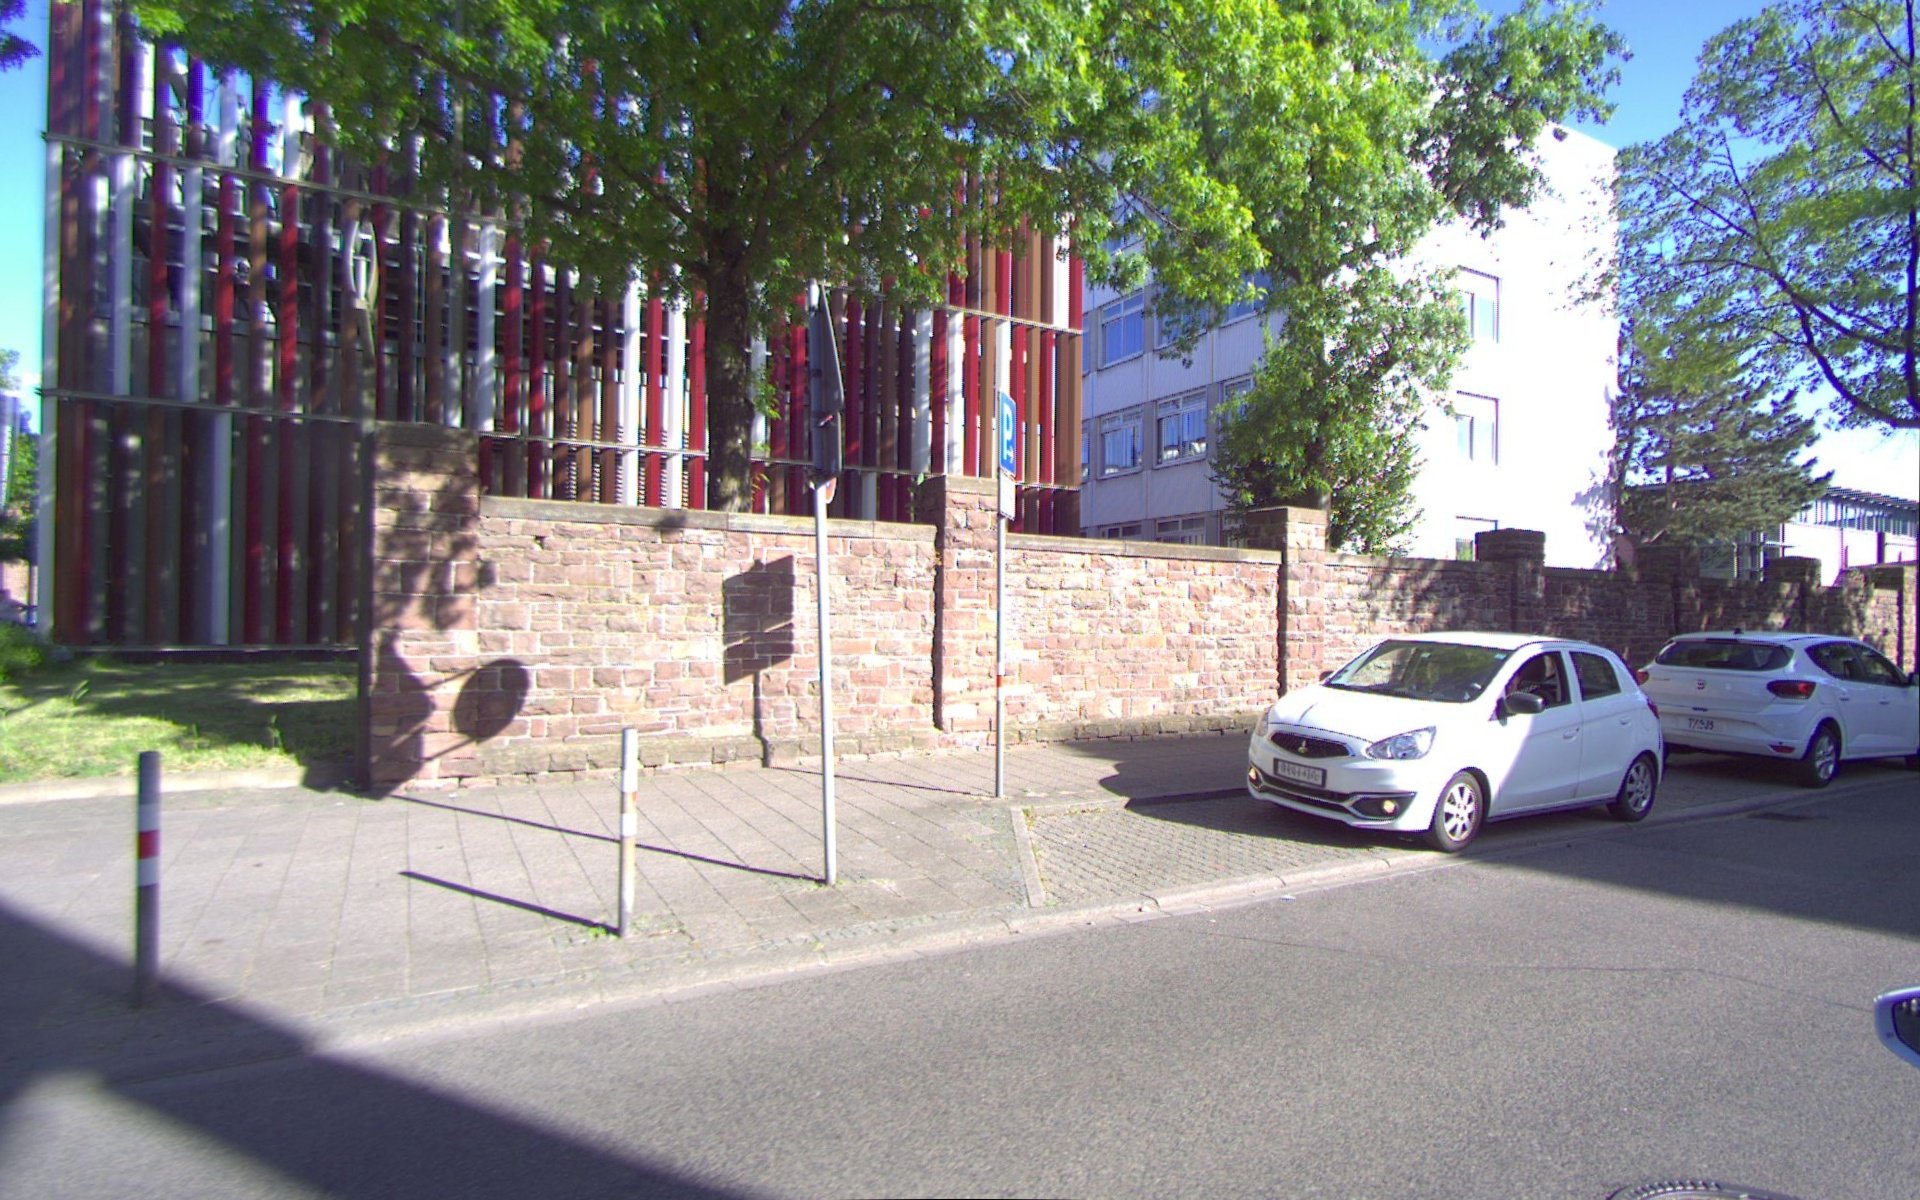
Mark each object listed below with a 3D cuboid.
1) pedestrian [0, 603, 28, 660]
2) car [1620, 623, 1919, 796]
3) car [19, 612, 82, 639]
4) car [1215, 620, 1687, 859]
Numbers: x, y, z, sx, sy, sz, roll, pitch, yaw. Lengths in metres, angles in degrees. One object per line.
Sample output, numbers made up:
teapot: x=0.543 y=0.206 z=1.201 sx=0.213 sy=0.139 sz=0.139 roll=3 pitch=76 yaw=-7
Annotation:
pedestrian: x=-23.315 y=0.763 z=24.633 sx=0.605 sy=1.371 sz=0.566 roll=1 pitch=0 yaw=-36
car: x=9.334 y=1.103 z=11.223 sx=3.803 sy=1.531 sz=1.669 roll=2 pitch=2 yaw=-30
car: x=-49.846 y=1.390 z=55.118 sx=1.714 sy=1.341 sz=3.051 roll=2 pitch=0 yaw=-26
car: x=3.986 y=0.949 z=8.035 sx=3.707 sy=1.421 sz=1.566 roll=2 pitch=3 yaw=-31
